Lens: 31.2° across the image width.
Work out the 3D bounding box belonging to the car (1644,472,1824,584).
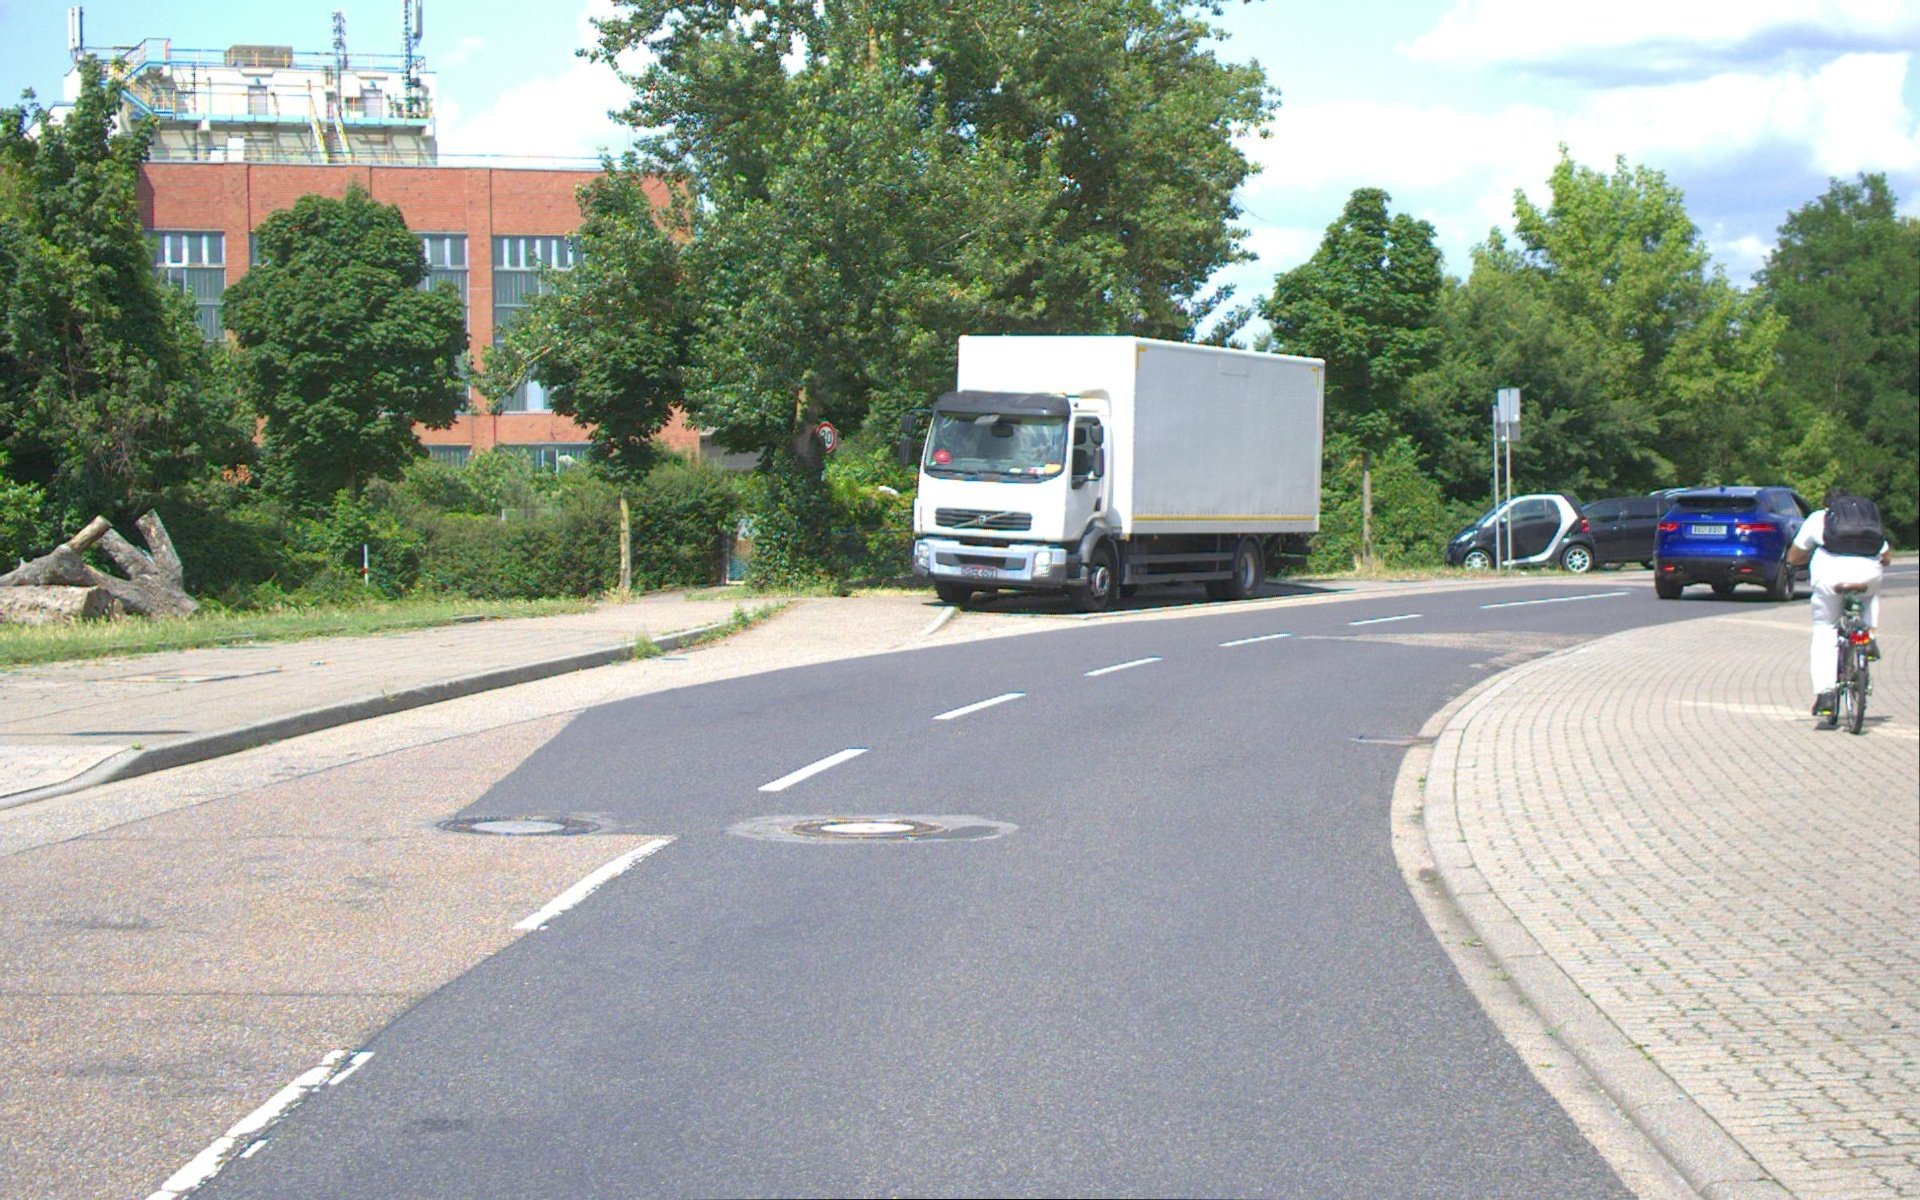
[{"bbox_3d":[11.591,-1.081,51.257,1.911,1.587,4.696,0,1,22],"label":"car"}]

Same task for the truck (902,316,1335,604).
[{"bbox_3d":[2.397,-1.963,47.191,2.324,3.555,9.354,2,3,27],"label":"truck"}]

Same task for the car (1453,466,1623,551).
[{"bbox_3d":[10.923,-1.727,65.081,2.898,1.564,1.890,-1,1,0],"label":"car"}]

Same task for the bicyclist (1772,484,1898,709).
[{"bbox_3d":[5.568,-0.035,21.915,0.663,1.392,0.858,-1,2,8],"label":"bicyclist"}]

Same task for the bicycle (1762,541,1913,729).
[{"bbox_3d":[5.607,0.199,22.064,0.666,1.105,2.167,-1,2,7],"label":"bicycle"}]
